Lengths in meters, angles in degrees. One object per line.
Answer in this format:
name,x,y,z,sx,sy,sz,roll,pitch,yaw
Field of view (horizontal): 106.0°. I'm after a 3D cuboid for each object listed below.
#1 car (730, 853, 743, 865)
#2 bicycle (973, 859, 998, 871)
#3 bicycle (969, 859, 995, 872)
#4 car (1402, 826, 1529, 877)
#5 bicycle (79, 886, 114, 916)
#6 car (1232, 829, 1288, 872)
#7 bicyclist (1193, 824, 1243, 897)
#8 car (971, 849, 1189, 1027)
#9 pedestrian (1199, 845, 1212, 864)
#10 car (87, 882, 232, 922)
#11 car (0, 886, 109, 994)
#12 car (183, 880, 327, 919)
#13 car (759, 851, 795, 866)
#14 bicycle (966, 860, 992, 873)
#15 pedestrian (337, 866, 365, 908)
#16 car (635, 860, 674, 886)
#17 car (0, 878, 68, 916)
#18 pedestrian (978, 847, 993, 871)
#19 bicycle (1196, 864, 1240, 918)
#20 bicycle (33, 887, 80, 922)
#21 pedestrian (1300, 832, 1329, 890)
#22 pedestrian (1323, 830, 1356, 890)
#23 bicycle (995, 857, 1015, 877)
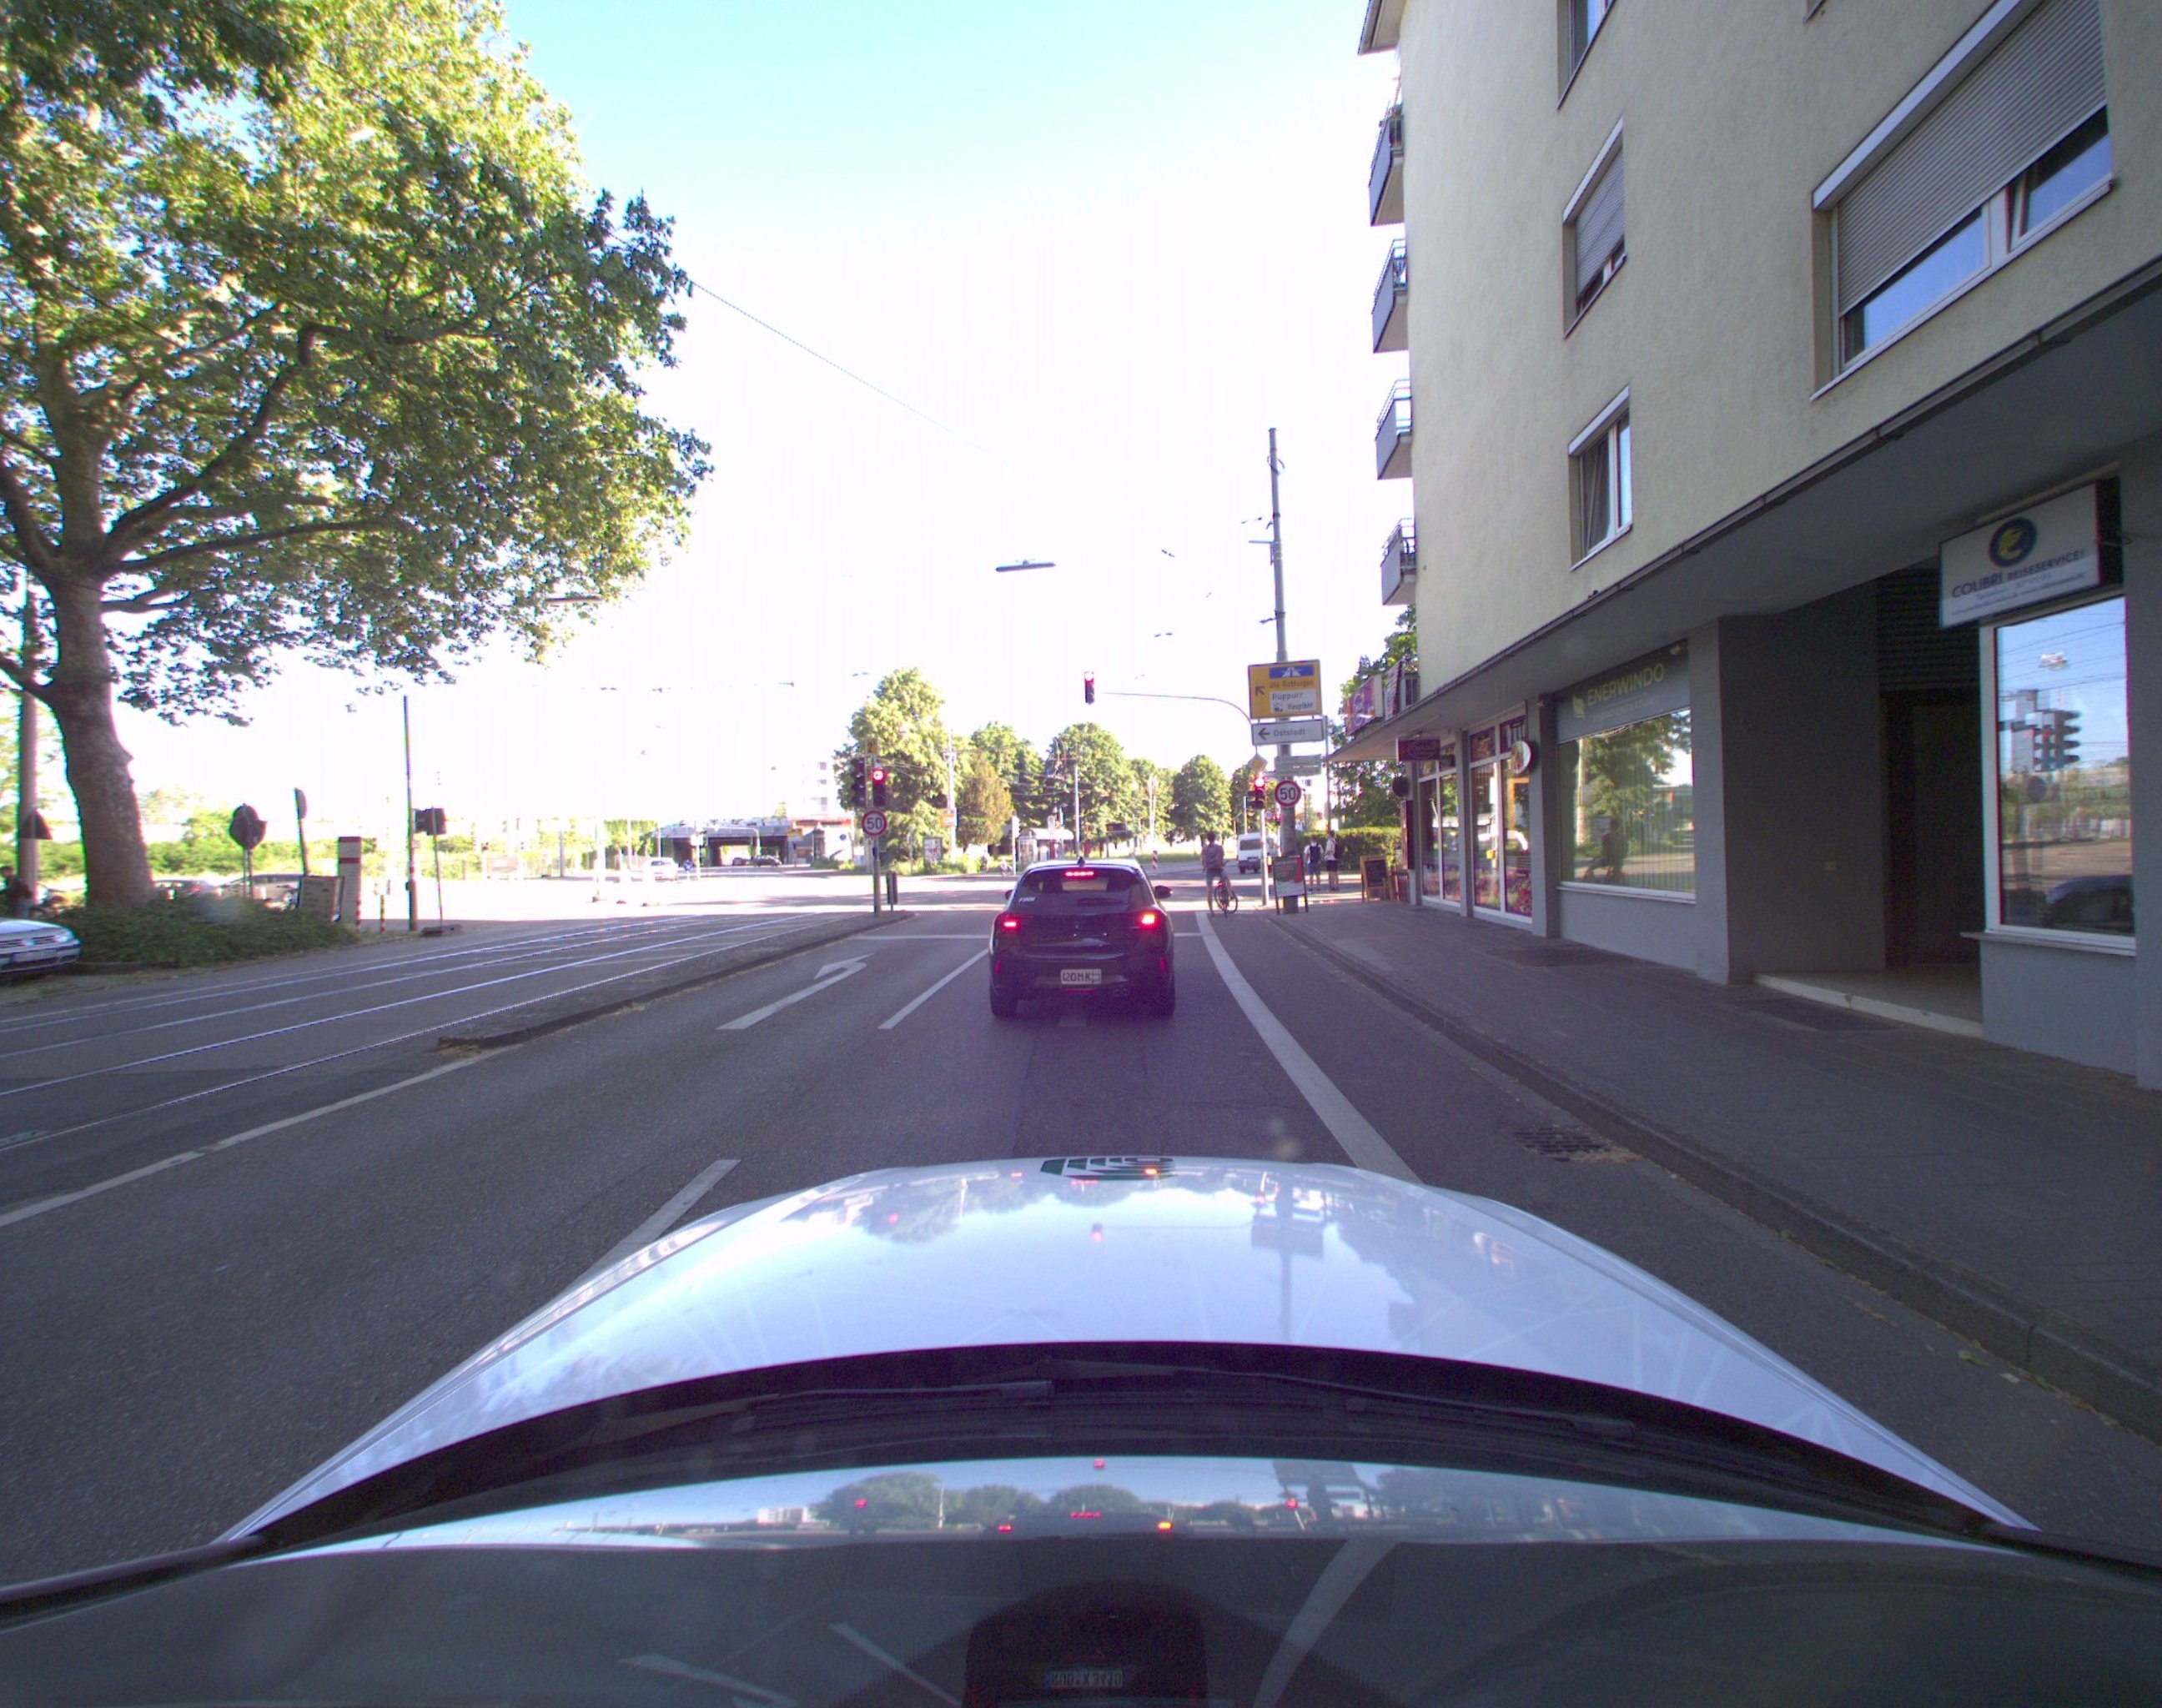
car,-62.608,0.936,147.894,2.003,2.014,3.967,0,-1,-25
bicycle,-7.751,0.927,66.033,1.866,0.906,0.661,-2,0,8
bicycle,-7.928,0.921,65.166,1.866,0.906,0.661,-2,0,8
car,15.108,-0.063,32.207,4.150,1.814,1.811,-2,-3,10
bicycle,-26.424,1.242,21.855,1.757,0.759,0.360,-1,0,32
car,10.140,-0.177,45.931,2.070,2.277,4.331,-1,-1,26
bicyclist,2.981,0.137,17.835,0.837,1.510,1.368,-2,0,0
car,0.102,0.696,8.815,1.793,1.441,3.943,-2,0,3
pedestrian,12.351,0.030,80.496,0.949,1.793,1.002,-2,0,27
car,-43.103,2.204,38.226,4.006,1.419,1.880,-1,6,-25
car,-16.673,1.205,11.321,3.980,1.417,1.701,0,-1,-5
car,-37.197,2.023,36.863,4.327,1.531,2.072,0,-1,-39
car,-40.228,0.579,107.818,3.975,2.014,1.999,0,-1,-1
bicycle,-8.054,0.975,64.183,1.866,0.906,0.661,-2,0,8
pedestrian,-27.804,1.247,31.026,0.602,1.596,0.679,0,-1,-24
car,-29.569,1.294,56.376,2.007,1.631,4.584,-2,1,-32
car,-48.402,1.933,36.001,4.006,1.419,1.880,-1,6,-25
pedestrian,-6.795,0.378,57.939,0.719,1.693,0.704,-2,0,20
bicycle,2.988,0.780,17.920,0.665,1.059,2.083,-2,0,2
bicycle,-25.052,1.219,19.939,0.360,0.759,1.759,-2,0,-40
pedestrian,7.299,0.217,25.481,0.696,1.792,0.617,-2,0,1
pedestrian,8.092,0.183,25.472,0.696,1.846,0.705,-2,0,41
bicycle,-4.367,0.749,46.876,0.821,1.059,1.885,-2,0,4
